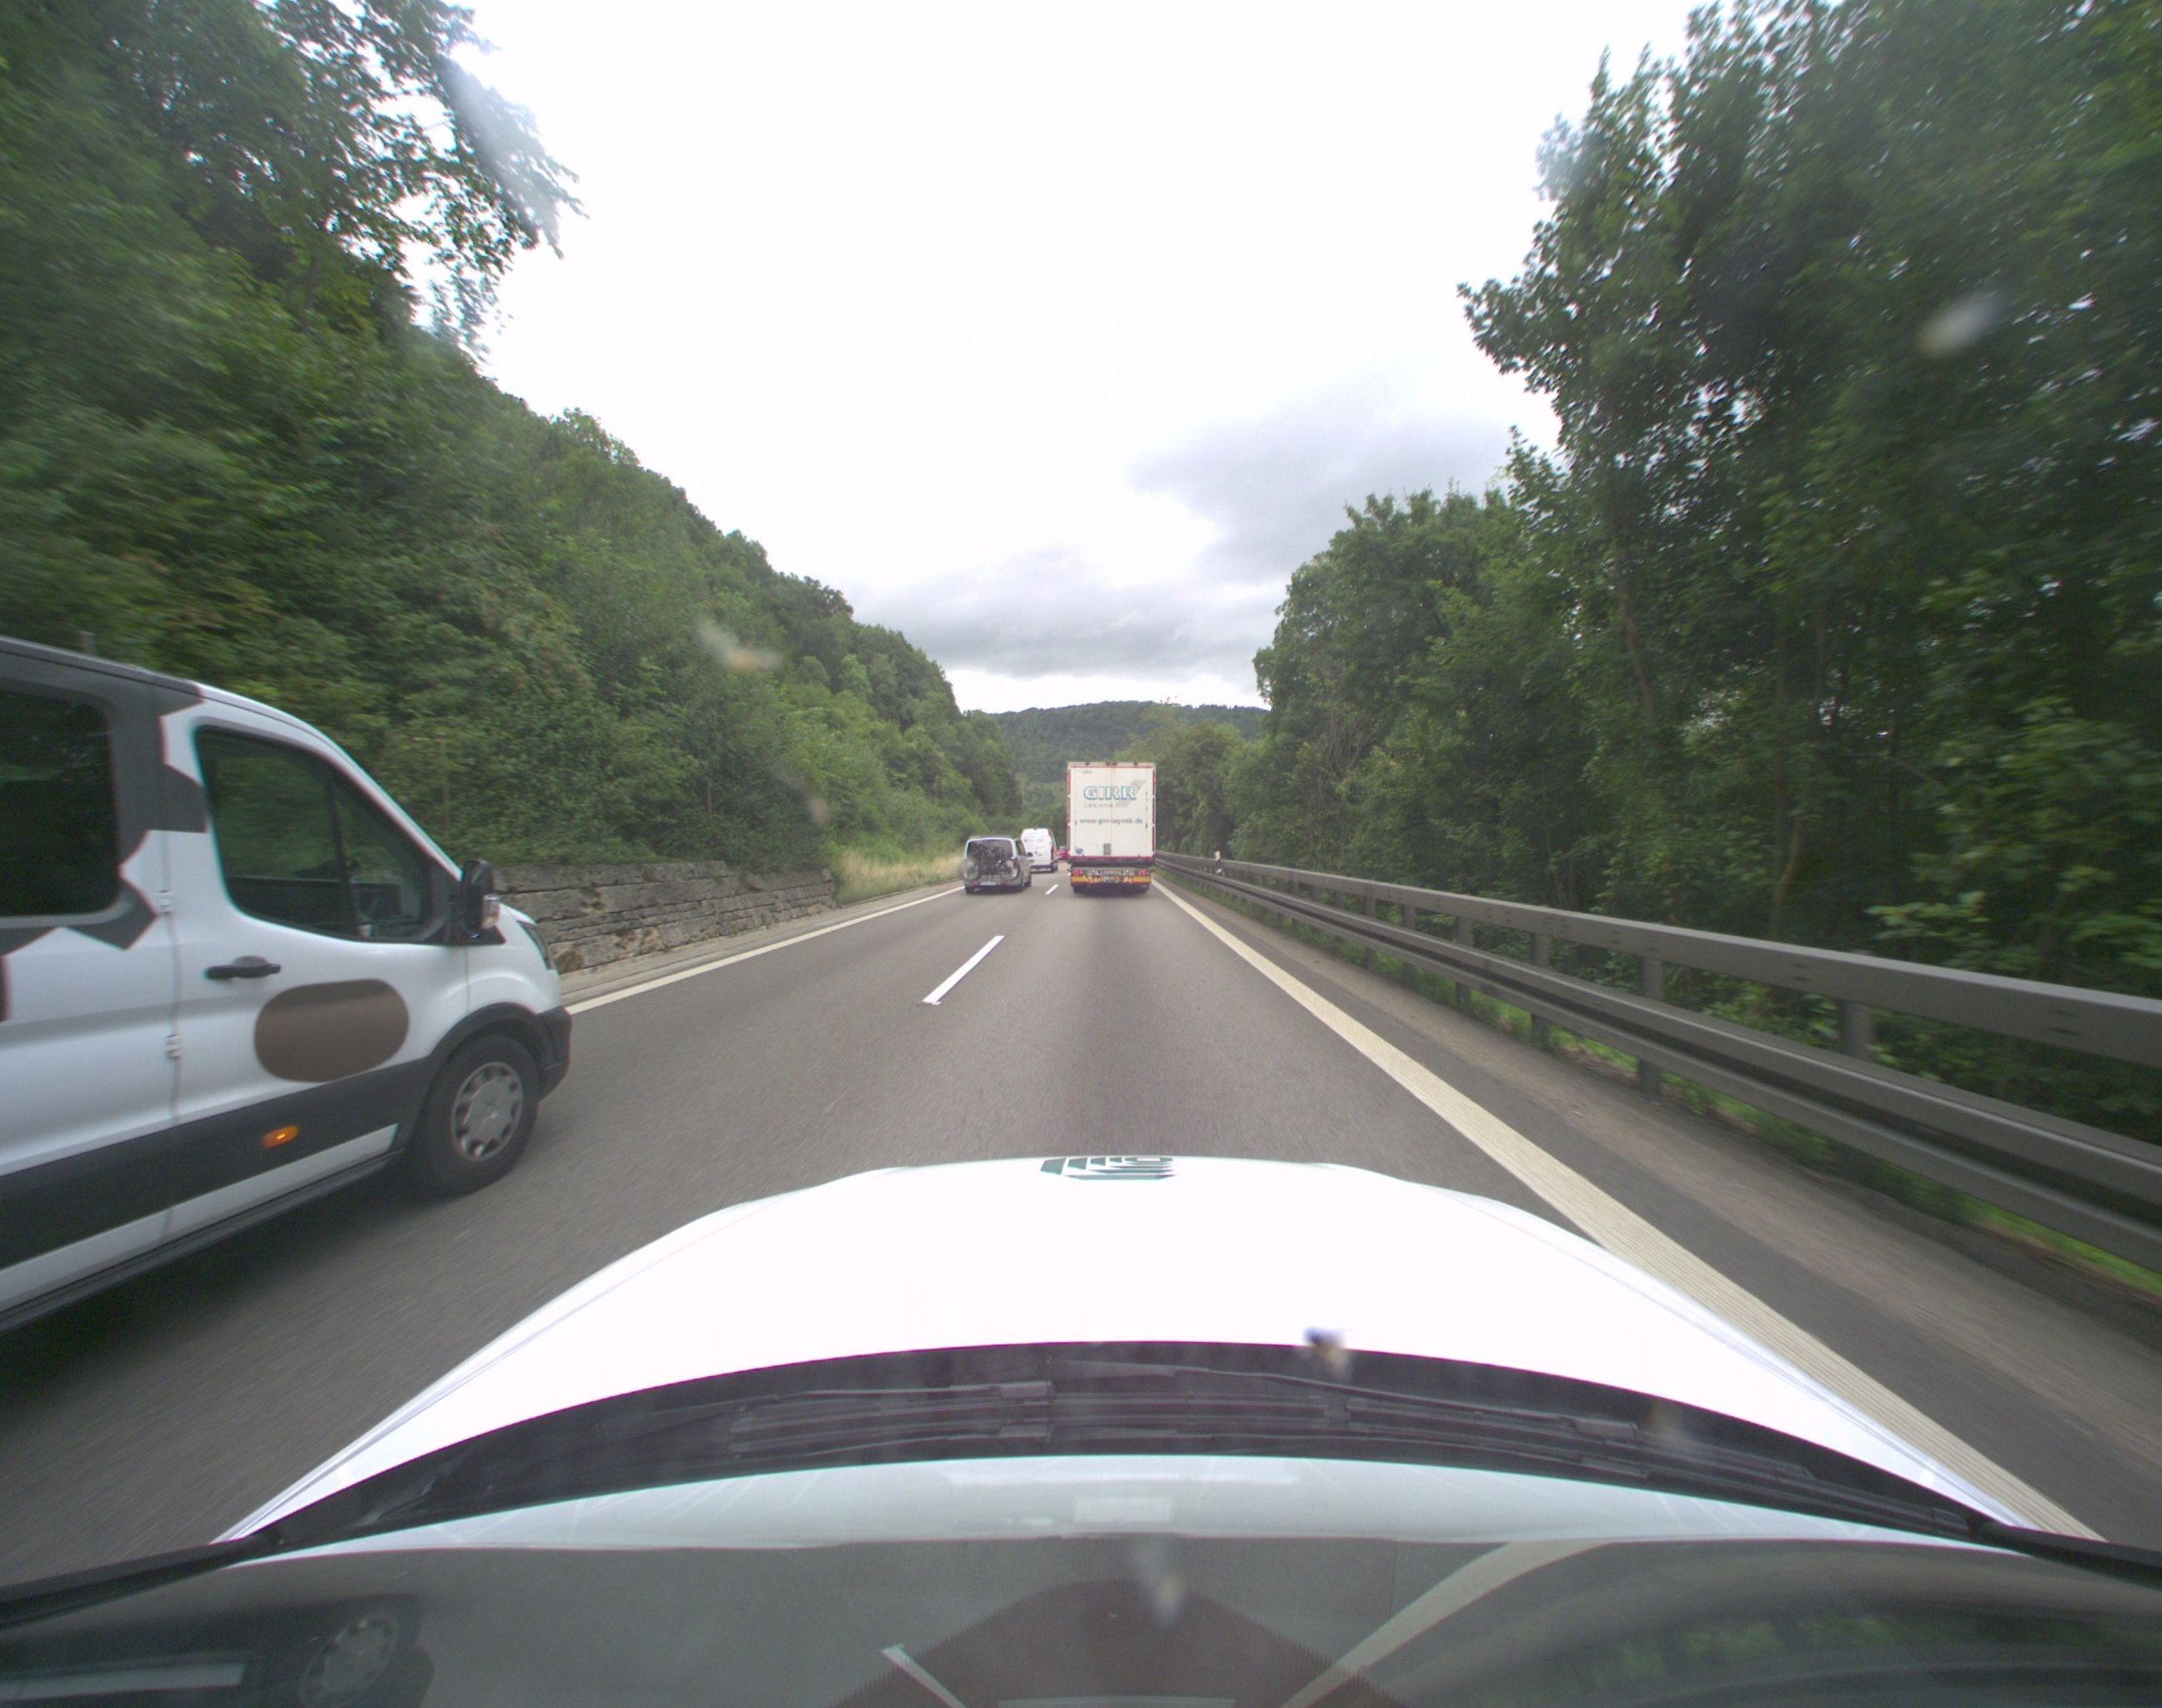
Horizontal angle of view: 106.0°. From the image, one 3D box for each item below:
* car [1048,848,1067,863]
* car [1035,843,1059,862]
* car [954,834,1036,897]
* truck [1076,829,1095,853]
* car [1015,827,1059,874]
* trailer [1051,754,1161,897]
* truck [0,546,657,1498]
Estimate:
[{"bbox_3d":[-2.302,0.140,81.050,1.677,1.452,3.766,-2,0,1],"label":"car"},{"bbox_3d":[-2.814,-0.153,67.966,1.677,1.514,3.767,-2,0,2],"label":"car"},{"bbox_3d":[-2.851,0.317,28.185,2.010,1.914,5.566,-1,1,2],"label":"car"},{"bbox_3d":[0.693,-2.163,138.742,3.060,3.877,8.454,-2,0,-1],"label":"truck"},{"bbox_3d":[-2.553,-0.237,48.681,2.117,2.598,5.563,-2,1,0],"label":"car"},{"bbox_3d":[0.876,-0.856,27.867,3.121,4.042,9.444,0,1,2],"label":"trailer"},{"bbox_3d":[-3.765,0.423,1.457,2.341,2.274,6.849,-2,0,0],"label":"truck"}]
